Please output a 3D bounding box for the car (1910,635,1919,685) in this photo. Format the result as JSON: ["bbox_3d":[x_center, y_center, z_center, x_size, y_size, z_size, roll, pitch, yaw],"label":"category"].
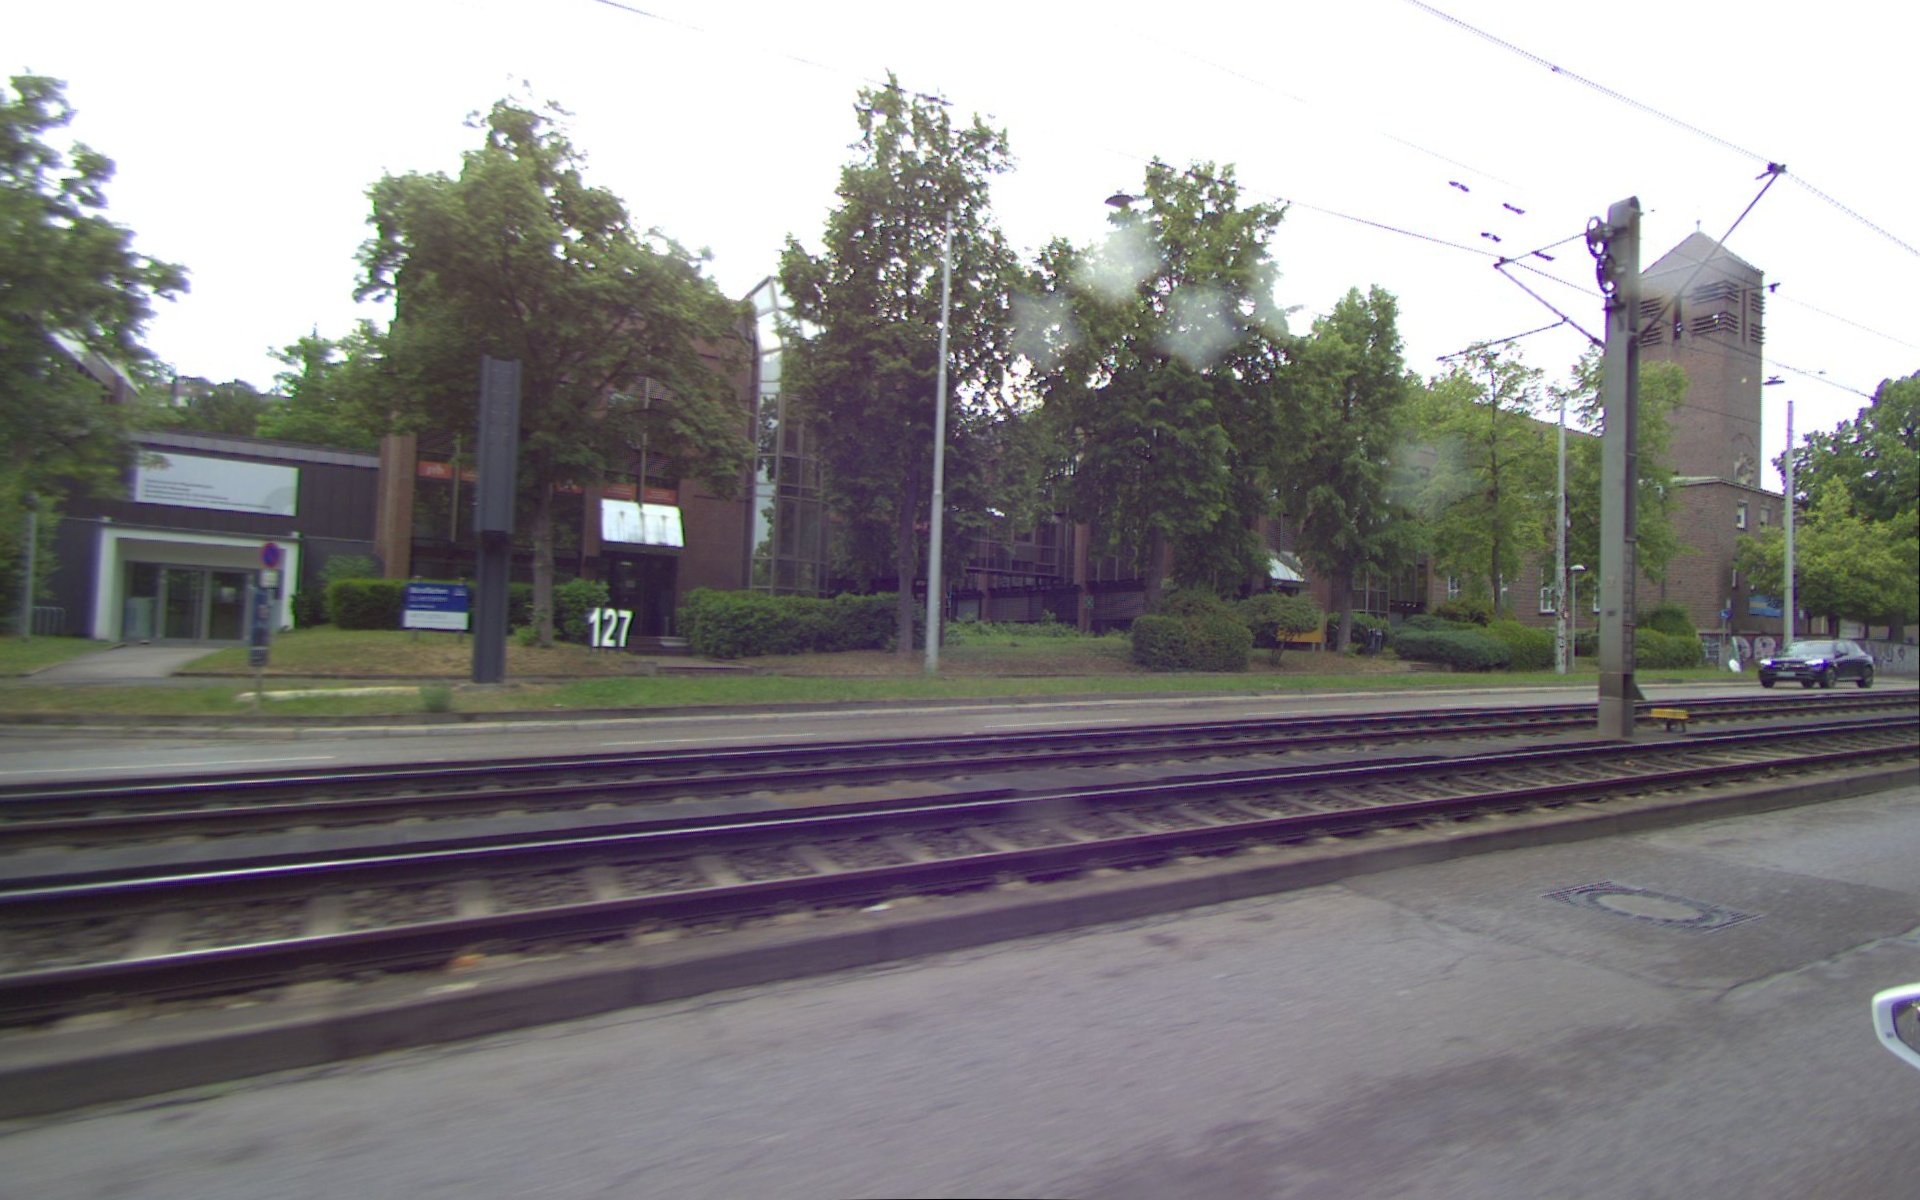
[{"bbox_3d":[33.922,2.016,33.597,4.185,1.678,1.828,1,-2,-27],"label":"car"}]

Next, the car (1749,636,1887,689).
[{"bbox_3d":[29.230,2.083,34.194,4.557,1.678,2.006,1,-2,-27],"label":"car"}]
